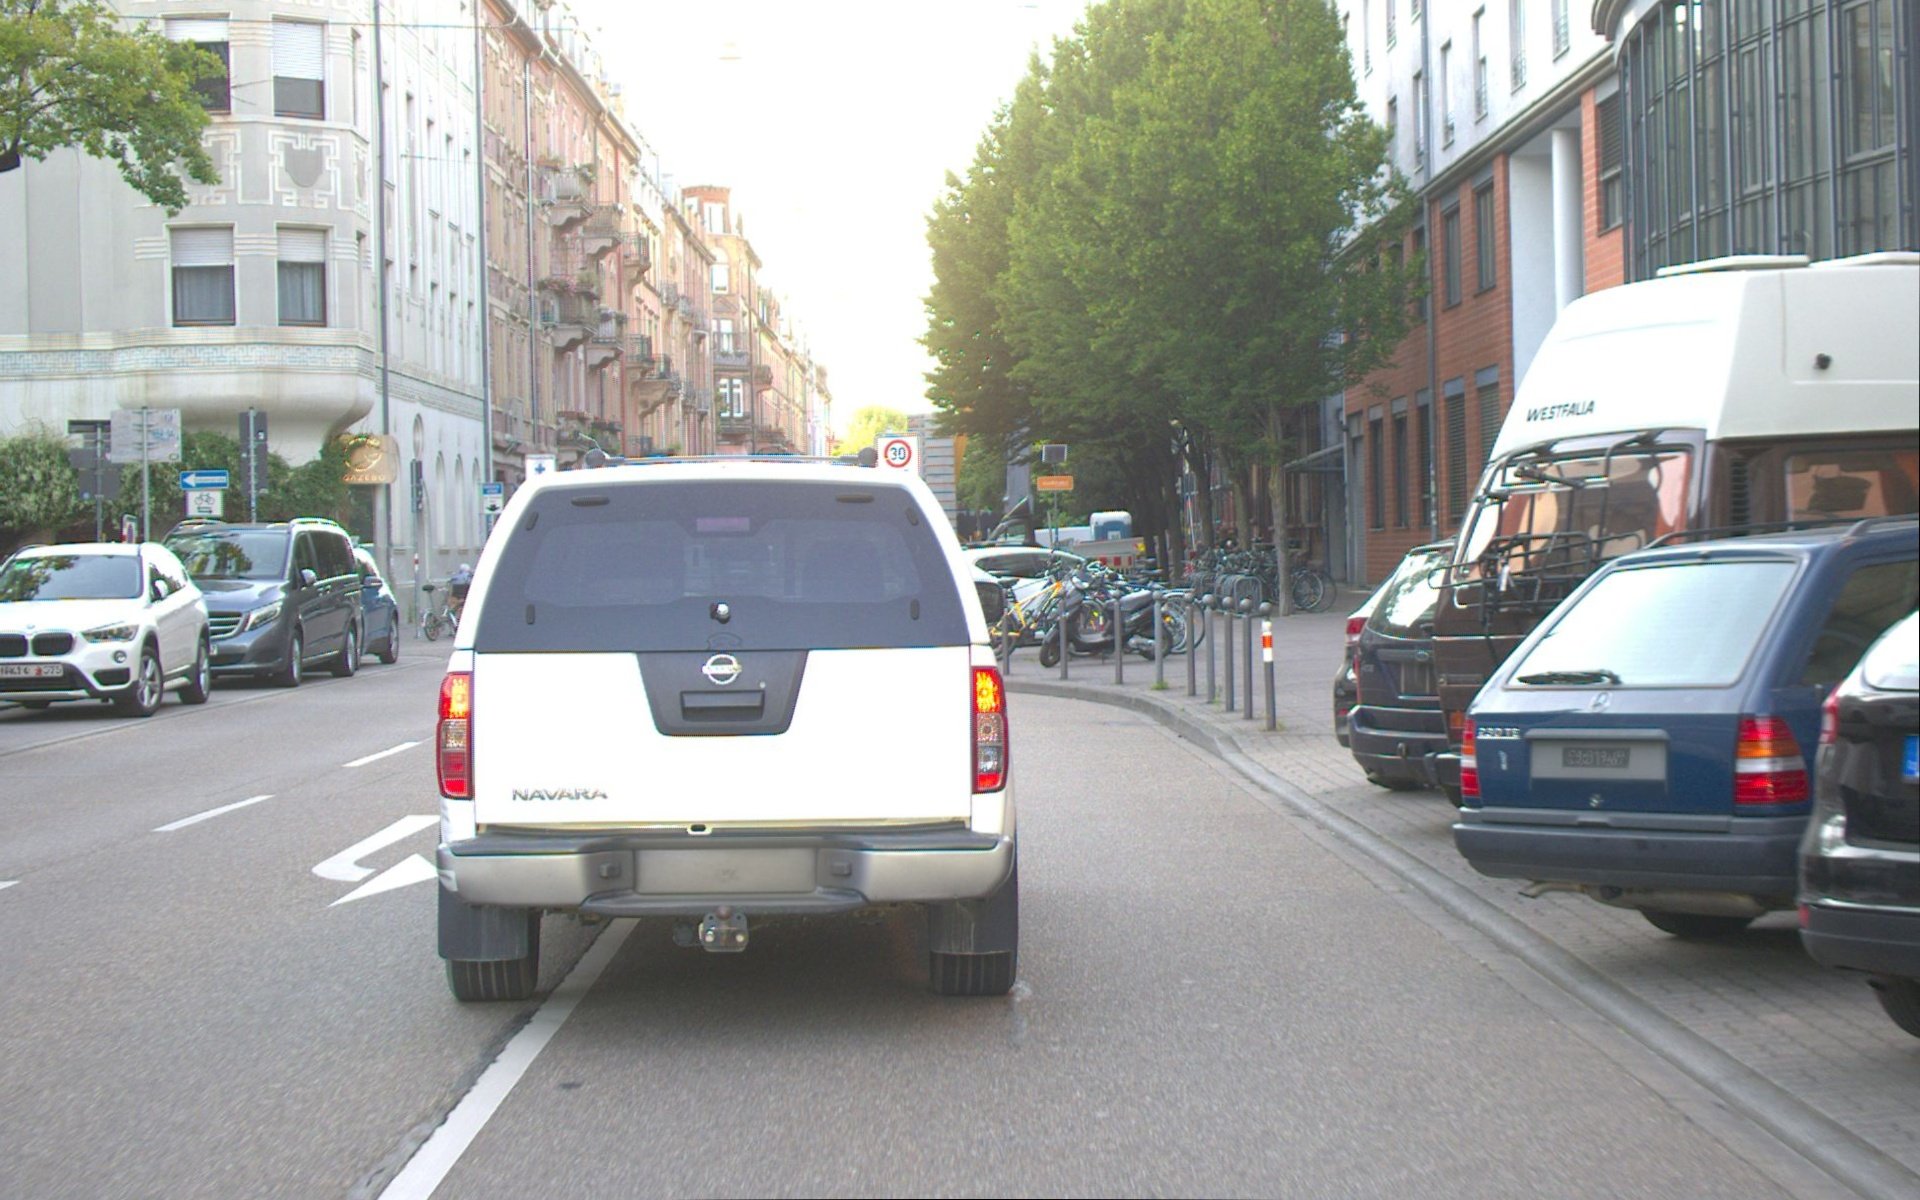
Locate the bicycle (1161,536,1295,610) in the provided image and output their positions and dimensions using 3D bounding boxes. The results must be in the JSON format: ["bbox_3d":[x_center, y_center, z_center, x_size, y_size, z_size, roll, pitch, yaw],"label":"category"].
[{"bbox_3d":[5.185,-0.524,66.661,2.534,1.375,0.599,-1,1,3],"label":"bicycle"}]

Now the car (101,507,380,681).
[{"bbox_3d":[-8.228,-0.110,39.809,1.993,1.860,5.289,-1,1,1],"label":"car"}]

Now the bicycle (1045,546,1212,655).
[{"bbox_3d":[1.974,-0.002,40.445,1.859,1.142,0.659,-4,1,0],"label":"bicycle"}]

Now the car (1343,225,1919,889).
[{"bbox_3d":[4.200,-0.212,15.113,4.710,2.538,1.918,-1,0,-29],"label":"car"}]

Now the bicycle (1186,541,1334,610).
[{"bbox_3d":[5.247,-0.432,60.173,2.534,1.162,0.562,-1,1,3],"label":"bicycle"}]

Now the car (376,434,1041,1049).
[{"bbox_3d":[-0.769,0.394,12.371,1.933,1.788,4.622,0,0,-1],"label":"car"}]

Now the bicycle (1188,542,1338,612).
[{"bbox_3d":[5.241,-0.405,59.532,2.534,1.162,0.562,-1,1,3],"label":"bicycle"}]

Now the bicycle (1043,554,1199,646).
[{"bbox_3d":[1.986,-0.003,42.546,1.857,1.035,0.402,-3,1,-1],"label":"bicycle"}]

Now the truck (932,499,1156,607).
[{"bbox_3d":[2.393,-1.318,98.221,6.320,2.966,2.264,0,-2,1],"label":"truck"}]

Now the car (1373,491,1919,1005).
[{"bbox_3d":[3.821,0.341,12.193,4.385,1.481,1.844,-4,2,-30],"label":"car"}]

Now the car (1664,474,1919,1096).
[{"bbox_3d":[4.180,0.373,9.465,4.108,1.540,1.795,-3,-1,-28],"label":"car"}]

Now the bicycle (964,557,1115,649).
[{"bbox_3d":[1.008,0.033,43.775,1.857,1.062,0.446,-3,1,-1],"label":"bicycle"}]

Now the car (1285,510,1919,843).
[{"bbox_3d":[4.028,0.309,17.644,4.342,1.497,1.913,-2,1,-28],"label":"car"}]

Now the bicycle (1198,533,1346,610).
[{"bbox_3d":[5.168,-0.478,57.070,2.346,1.095,0.680,-4,1,3],"label":"bicycle"}]

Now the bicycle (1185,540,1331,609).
[{"bbox_3d":[5.259,-0.446,60.784,2.534,1.162,0.562,-1,1,3],"label":"bicycle"}]

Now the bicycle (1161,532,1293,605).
[{"bbox_3d":[5.225,-0.616,67.457,2.534,1.375,0.599,-1,1,3],"label":"bicycle"}]

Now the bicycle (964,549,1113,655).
[{"bbox_3d":[0.933,0.020,41.029,1.707,1.172,0.472,-3,1,-1],"label":"bicycle"}]

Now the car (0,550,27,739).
[{"bbox_3d":[-8.224,0.379,24.682,1.783,1.430,4.316,-1,1,1],"label":"car"}]

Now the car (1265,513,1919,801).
[{"bbox_3d":[3.944,0.268,20.024,4.056,1.487,1.724,-2,1,-31],"label":"car"}]

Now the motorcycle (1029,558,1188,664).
[{"bbox_3d":[1.680,0.120,39.031,1.644,1.098,0.647,-4,1,-9],"label":"motorcycle"}]

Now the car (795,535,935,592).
[{"bbox_3d":[-2.986,-1.144,108.623,4.196,1.774,1.819,0,1,6],"label":"car"}]

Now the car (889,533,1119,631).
[{"bbox_3d":[0.771,-0.322,59.379,3.594,1.575,1.716,-2,1,-33],"label":"car"}]

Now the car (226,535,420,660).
[{"bbox_3d":[-8.270,-0.068,44.941,1.640,1.550,4.004,-1,1,2],"label":"car"}]

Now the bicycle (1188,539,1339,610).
[{"bbox_3d":[5.196,-0.444,58.900,2.534,1.162,0.562,-1,1,3],"label":"bicycle"}]

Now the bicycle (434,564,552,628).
[{"bbox_3d":[-8.247,-0.078,60.741,2.113,1.091,0.500,0,2,25],"label":"bicycle"}]

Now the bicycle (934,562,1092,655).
[{"bbox_3d":[0.642,0.097,41.929,1.857,1.035,0.472,-3,1,-1],"label":"bicycle"}]

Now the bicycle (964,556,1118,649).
[{"bbox_3d":[1.008,0.023,43.017,1.857,1.062,0.446,-3,1,-1],"label":"bicycle"}]

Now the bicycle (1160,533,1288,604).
[{"bbox_3d":[5.328,-0.642,69.384,2.534,1.375,0.599,-1,1,3],"label":"bicycle"}]

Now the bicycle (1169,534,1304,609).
[{"bbox_3d":[5.306,-0.544,66.014,2.534,1.375,0.599,-1,1,3],"label":"bicycle"}]

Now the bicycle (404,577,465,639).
[{"bbox_3d":[-9.098,0.133,59.580,0.423,1.009,1.717,0,2,13],"label":"bicycle"}]

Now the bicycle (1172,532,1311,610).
[{"bbox_3d":[5.217,-0.539,63.788,2.534,1.375,0.599,-1,1,3],"label":"bicycle"}]

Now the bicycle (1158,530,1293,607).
[{"bbox_3d":[5.247,-0.624,68.096,2.535,1.240,0.599,-6,0,3],"label":"bicycle"}]

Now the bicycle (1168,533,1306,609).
[{"bbox_3d":[5.188,-0.548,64.502,2.534,1.375,0.599,-1,1,3],"label":"bicycle"}]

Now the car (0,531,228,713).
[{"bbox_3d":[-8.324,0.166,32.690,1.871,1.586,4.469,-1,1,-2],"label":"car"}]

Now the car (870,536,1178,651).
[{"bbox_3d":[0.919,-0.111,48.717,3.987,1.501,1.770,-2,1,-29],"label":"car"}]

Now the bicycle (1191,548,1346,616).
[{"bbox_3d":[5.220,-0.305,58.280,2.534,0.956,0.680,-4,1,3],"label":"bicycle"}]

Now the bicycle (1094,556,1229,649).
[{"bbox_3d":[2.429,0.028,41.560,1.539,1.035,0.472,-3,1,-1],"label":"bicycle"}]
